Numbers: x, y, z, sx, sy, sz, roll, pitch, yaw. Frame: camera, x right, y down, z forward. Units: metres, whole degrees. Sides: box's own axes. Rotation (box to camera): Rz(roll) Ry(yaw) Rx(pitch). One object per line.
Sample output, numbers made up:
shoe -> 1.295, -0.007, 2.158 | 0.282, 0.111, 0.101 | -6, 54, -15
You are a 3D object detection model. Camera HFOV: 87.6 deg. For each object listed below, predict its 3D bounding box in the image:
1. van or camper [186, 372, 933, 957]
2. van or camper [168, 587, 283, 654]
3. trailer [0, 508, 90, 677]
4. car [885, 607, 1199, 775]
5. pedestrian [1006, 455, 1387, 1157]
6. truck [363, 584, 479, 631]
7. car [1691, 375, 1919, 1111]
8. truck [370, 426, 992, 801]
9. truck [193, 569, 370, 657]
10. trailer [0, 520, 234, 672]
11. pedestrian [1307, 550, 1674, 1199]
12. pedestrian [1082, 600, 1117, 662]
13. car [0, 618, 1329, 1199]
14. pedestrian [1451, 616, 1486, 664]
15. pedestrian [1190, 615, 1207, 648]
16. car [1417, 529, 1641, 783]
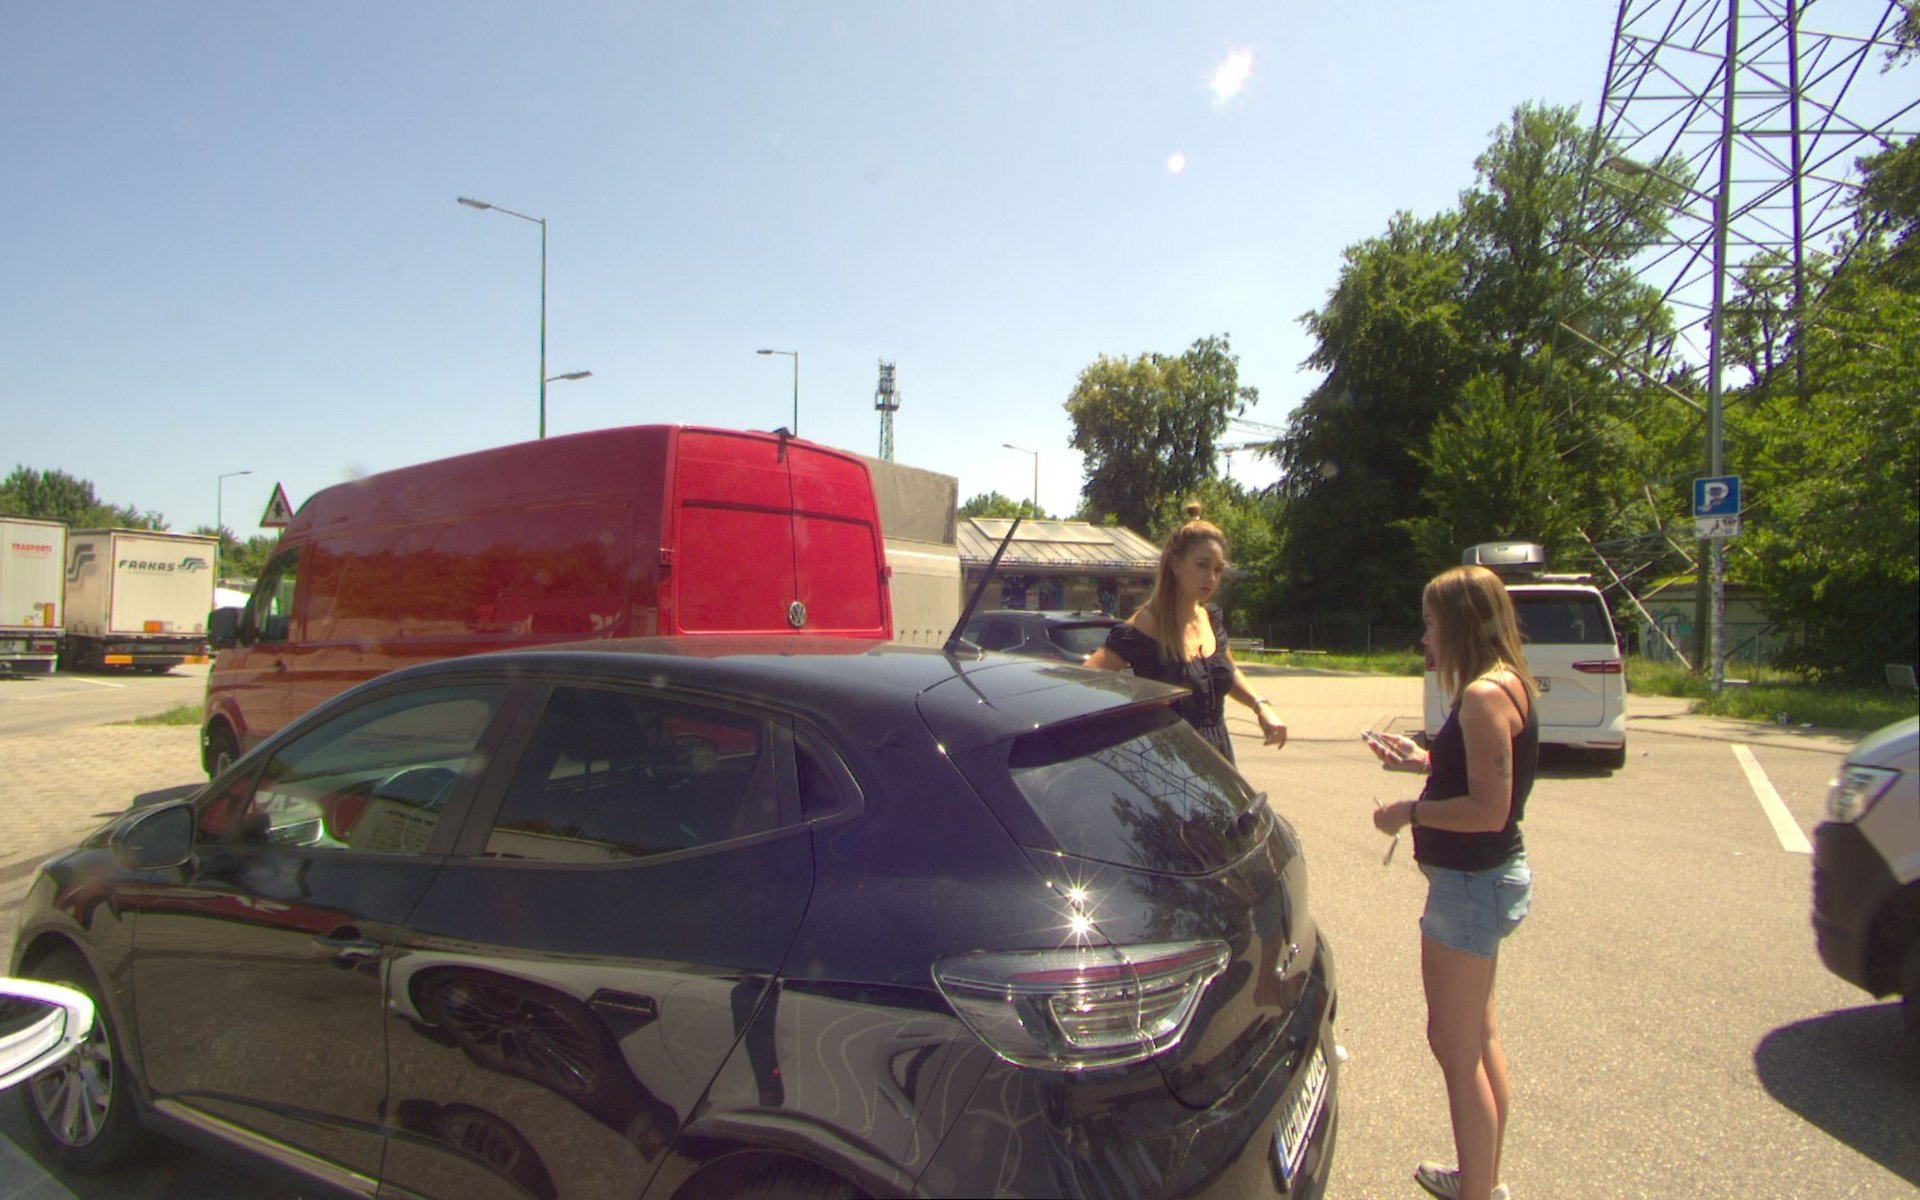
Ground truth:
van or camper -> -3.331, 0.323, 7.320 | 6.394, 2.688, 1.990 | 0, -1, 36
van or camper -> -30.369, 0.824, 41.360 | 5.296, 2.595, 2.100 | 0, -1, 34
trailer -> -28.315, -0.328, 27.773 | 12.255, 4.090, 2.862 | 2, -1, 33
car -> 0.783, 0.929, 12.032 | 1.823, 1.644, 4.029 | 1, -1, -30
pedestrian -> 0.725, 0.573, 3.229 | 0.901, 1.896, 0.772 | 1, 0, -20
truck -> -34.674, 0.473, 64.253 | 9.637, 2.857, 2.121 | 0, -1, 33
car -> 4.258, 0.405, 1.316 | 1.964, 2.178, 5.307 | 1, -1, -14
truck -> -3.225, 0.132, 10.526 | 6.874, 2.828, 2.460 | 0, -1, 35
truck -> -31.649, 0.511, 46.450 | 11.255, 3.615, 2.484 | 2, -1, 33
trailer -> -27.254, -0.197, 31.437 | 12.255, 4.090, 2.862 | 2, -1, 33
pedestrian -> 1.258, 0.701, 2.507 | 0.636, 1.606, 0.654 | 1, 0, 12
pedestrian -> 3.758, 0.829, 27.054 | 0.742, 1.629, 0.765 | 1, 0, -8
car -> -1.026, 0.833, 2.812 | 3.706, 1.503, 1.615 | 0, -1, 27
pedestrian -> 15.106, 1.180, 29.759 | 0.695, 1.392, 0.607 | 1, 0, -3
pedestrian -> 10.971, 1.449, 46.073 | 0.577, 1.536, 0.592 | 1, 0, -10
car -> 6.575, 0.567, 11.524 | 1.892, 2.354, 4.074 | -1, -1, 32
